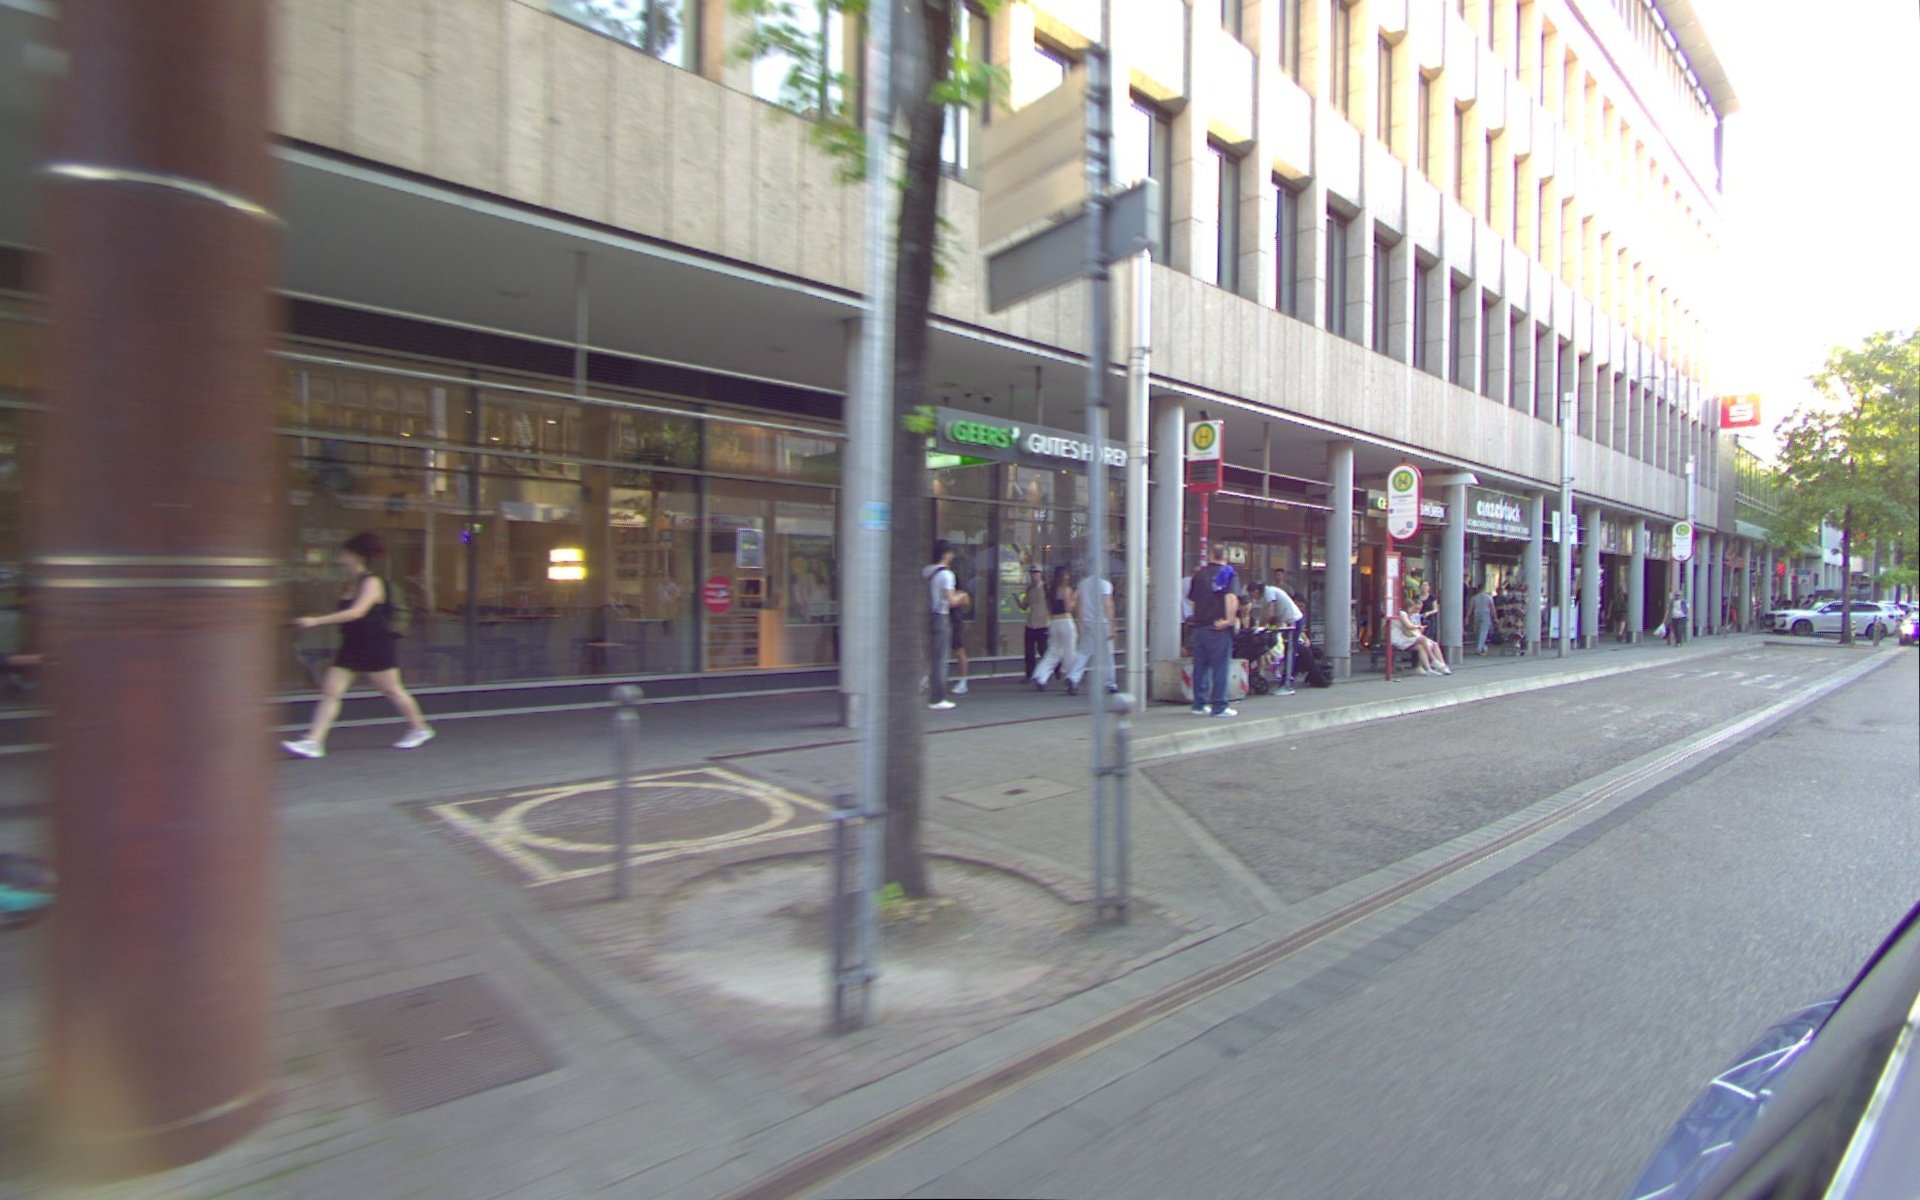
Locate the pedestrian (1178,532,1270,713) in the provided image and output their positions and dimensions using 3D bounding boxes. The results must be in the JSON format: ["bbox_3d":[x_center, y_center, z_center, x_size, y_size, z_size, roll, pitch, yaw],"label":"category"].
[{"bbox_3d":[2.844,0.218,10.897,0.696,1.862,0.669,0,1,-44],"label":"pedestrian"}]

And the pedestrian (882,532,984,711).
[{"bbox_3d":[-0.290,0.207,11.057,0.865,1.862,0.669,0,1,-43],"label":"pedestrian"}]

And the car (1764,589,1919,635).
[{"bbox_3d":[37.458,0.492,43.074,4.572,1.650,1.909,3,0,15],"label":"car"}]

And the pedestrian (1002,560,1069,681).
[{"bbox_3d":[1.090,0.275,14.595,0.669,1.682,0.649,0,1,-42],"label":"pedestrian"}]

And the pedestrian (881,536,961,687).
[{"bbox_3d":[-0.513,0.132,13.315,0.761,1.906,0.687,0,1,-44],"label":"pedestrian"}]

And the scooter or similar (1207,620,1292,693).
[{"bbox_3d":[3.810,0.728,13.329,0.673,0.895,0.837,0,-1,-29],"label":"scooter or similar"}]

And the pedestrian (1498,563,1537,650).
[{"bbox_3d":[12.818,0.139,23.251,0.644,1.968,0.579,0,1,-43],"label":"pedestrian"}]

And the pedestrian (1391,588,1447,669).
[{"bbox_3d":[7.779,0.472,17.165,0.523,1.331,0.719,0,0,-42],"label":"pedestrian"}]

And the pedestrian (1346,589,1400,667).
[{"bbox_3d":[7.199,0.470,17.636,0.523,1.331,0.719,0,0,-42],"label":"pedestrian"}]

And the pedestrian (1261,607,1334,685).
[{"bbox_3d":[4.733,0.627,14.212,0.535,1.055,0.814,0,0,-42],"label":"pedestrian"}]

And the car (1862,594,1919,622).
[{"bbox_3d":[63.660,0.495,68.126,3.954,1.809,1.850,-2,-1,23],"label":"car"}]

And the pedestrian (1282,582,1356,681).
[{"bbox_3d":[5.247,0.444,14.816,0.651,1.398,0.814,0,0,-42],"label":"pedestrian"}]

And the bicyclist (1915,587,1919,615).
[{"bbox_3d":[48.326,0.044,50.366,0.745,1.432,0.899,-1,0,-15],"label":"bicyclist"}]

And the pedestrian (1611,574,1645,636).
[{"bbox_3d":[21.066,0.144,31.919,0.783,1.912,0.708,0,1,-42],"label":"pedestrian"}]

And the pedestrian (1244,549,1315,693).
[{"bbox_3d":[4.264,0.262,13.510,0.656,1.862,0.640,0,1,-42],"label":"pedestrian"}]

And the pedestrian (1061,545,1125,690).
[{"bbox_3d":[1.728,0.212,13.120,0.594,1.828,0.539,0,1,-44],"label":"pedestrian"}]

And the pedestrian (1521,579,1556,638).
[{"bbox_3d":[16.878,0.232,29.521,0.776,1.664,0.681,0,2,-44],"label":"pedestrian"}]

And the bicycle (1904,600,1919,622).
[{"bbox_3d":[48.344,0.544,50.356,0.717,1.087,1.869,-1,0,-15],"label":"bicycle"}]

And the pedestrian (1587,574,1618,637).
[{"bbox_3d":[19.920,0.159,31.400,0.672,1.912,0.617,0,1,-42],"label":"pedestrian"}]

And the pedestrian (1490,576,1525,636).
[{"bbox_3d":[16.786,0.168,31.021,0.849,1.794,0.674,0,2,-44],"label":"pedestrian"}]

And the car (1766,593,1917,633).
[{"bbox_3d":[39.175,0.545,45.129,4.580,1.457,1.906,3,2,20],"label":"car"}]

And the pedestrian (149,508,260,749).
[{"bbox_3d":[-5.792,0.196,7.761,0.607,1.753,0.570,0,1,-44],"label":"pedestrian"}]

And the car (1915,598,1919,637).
[{"bbox_3d":[37.266,0.647,38.082,4.491,1.426,1.795,-1,1,-45],"label":"car"}]

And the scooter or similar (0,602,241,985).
[{"bbox_3d":[-3.409,0.665,3.869,1.101,1.267,0.494,2,1,17],"label":"scooter or similar"}]

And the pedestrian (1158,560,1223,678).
[{"bbox_3d":[3.405,0.260,14.943,0.639,1.682,0.649,0,1,-43],"label":"pedestrian"}]

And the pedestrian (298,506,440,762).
[{"bbox_3d":[-4.467,0.226,7.646,0.761,1.794,0.773,0,2,-44],"label":"pedestrian"}]

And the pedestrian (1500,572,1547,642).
[{"bbox_3d":[15.121,0.177,27.163,0.844,1.819,0.845,0,2,-43],"label":"pedestrian"}]

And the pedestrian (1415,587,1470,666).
[{"bbox_3d":[8.300,0.442,17.405,0.515,1.331,0.719,0,0,-42],"label":"pedestrian"}]

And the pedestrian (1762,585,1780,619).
[{"bbox_3d":[41.821,0.099,52.198,0.617,1.712,0.617,0,2,-43],"label":"pedestrian"}]

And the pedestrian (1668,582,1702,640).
[{"bbox_3d":[20.478,0.314,28.587,0.627,1.608,0.669,0,-1,-44],"label":"pedestrian"}]

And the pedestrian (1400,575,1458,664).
[{"bbox_3d":[8.656,0.341,18.688,0.723,1.589,0.726,0,2,-42],"label":"pedestrian"}]

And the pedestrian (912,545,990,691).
[{"bbox_3d":[-0.112,0.212,12.782,0.761,1.774,0.582,0,1,-44],"label":"pedestrian"}]

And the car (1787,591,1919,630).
[{"bbox_3d":[42.606,0.477,48.128,4.567,1.607,1.911,3,2,13],"label":"car"}]

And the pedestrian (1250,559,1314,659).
[{"bbox_3d":[6.352,0.157,19.974,0.884,1.912,0.845,0,2,-43],"label":"pedestrian"}]

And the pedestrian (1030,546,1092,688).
[{"bbox_3d":[1.348,0.210,13.504,0.594,1.828,0.539,0,1,-44],"label":"pedestrian"}]

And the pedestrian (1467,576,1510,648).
[{"bbox_3d":[12.604,0.274,24.144,0.709,1.682,0.688,0,1,-42],"label":"pedestrian"}]

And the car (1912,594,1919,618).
[{"bbox_3d":[73.899,0.424,75.644,3.918,1.809,1.867,-1,-1,-9],"label":"car"}]

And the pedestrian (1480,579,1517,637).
[{"bbox_3d":[15.752,0.229,29.609,0.805,1.664,0.711,0,2,-44],"label":"pedestrian"}]
